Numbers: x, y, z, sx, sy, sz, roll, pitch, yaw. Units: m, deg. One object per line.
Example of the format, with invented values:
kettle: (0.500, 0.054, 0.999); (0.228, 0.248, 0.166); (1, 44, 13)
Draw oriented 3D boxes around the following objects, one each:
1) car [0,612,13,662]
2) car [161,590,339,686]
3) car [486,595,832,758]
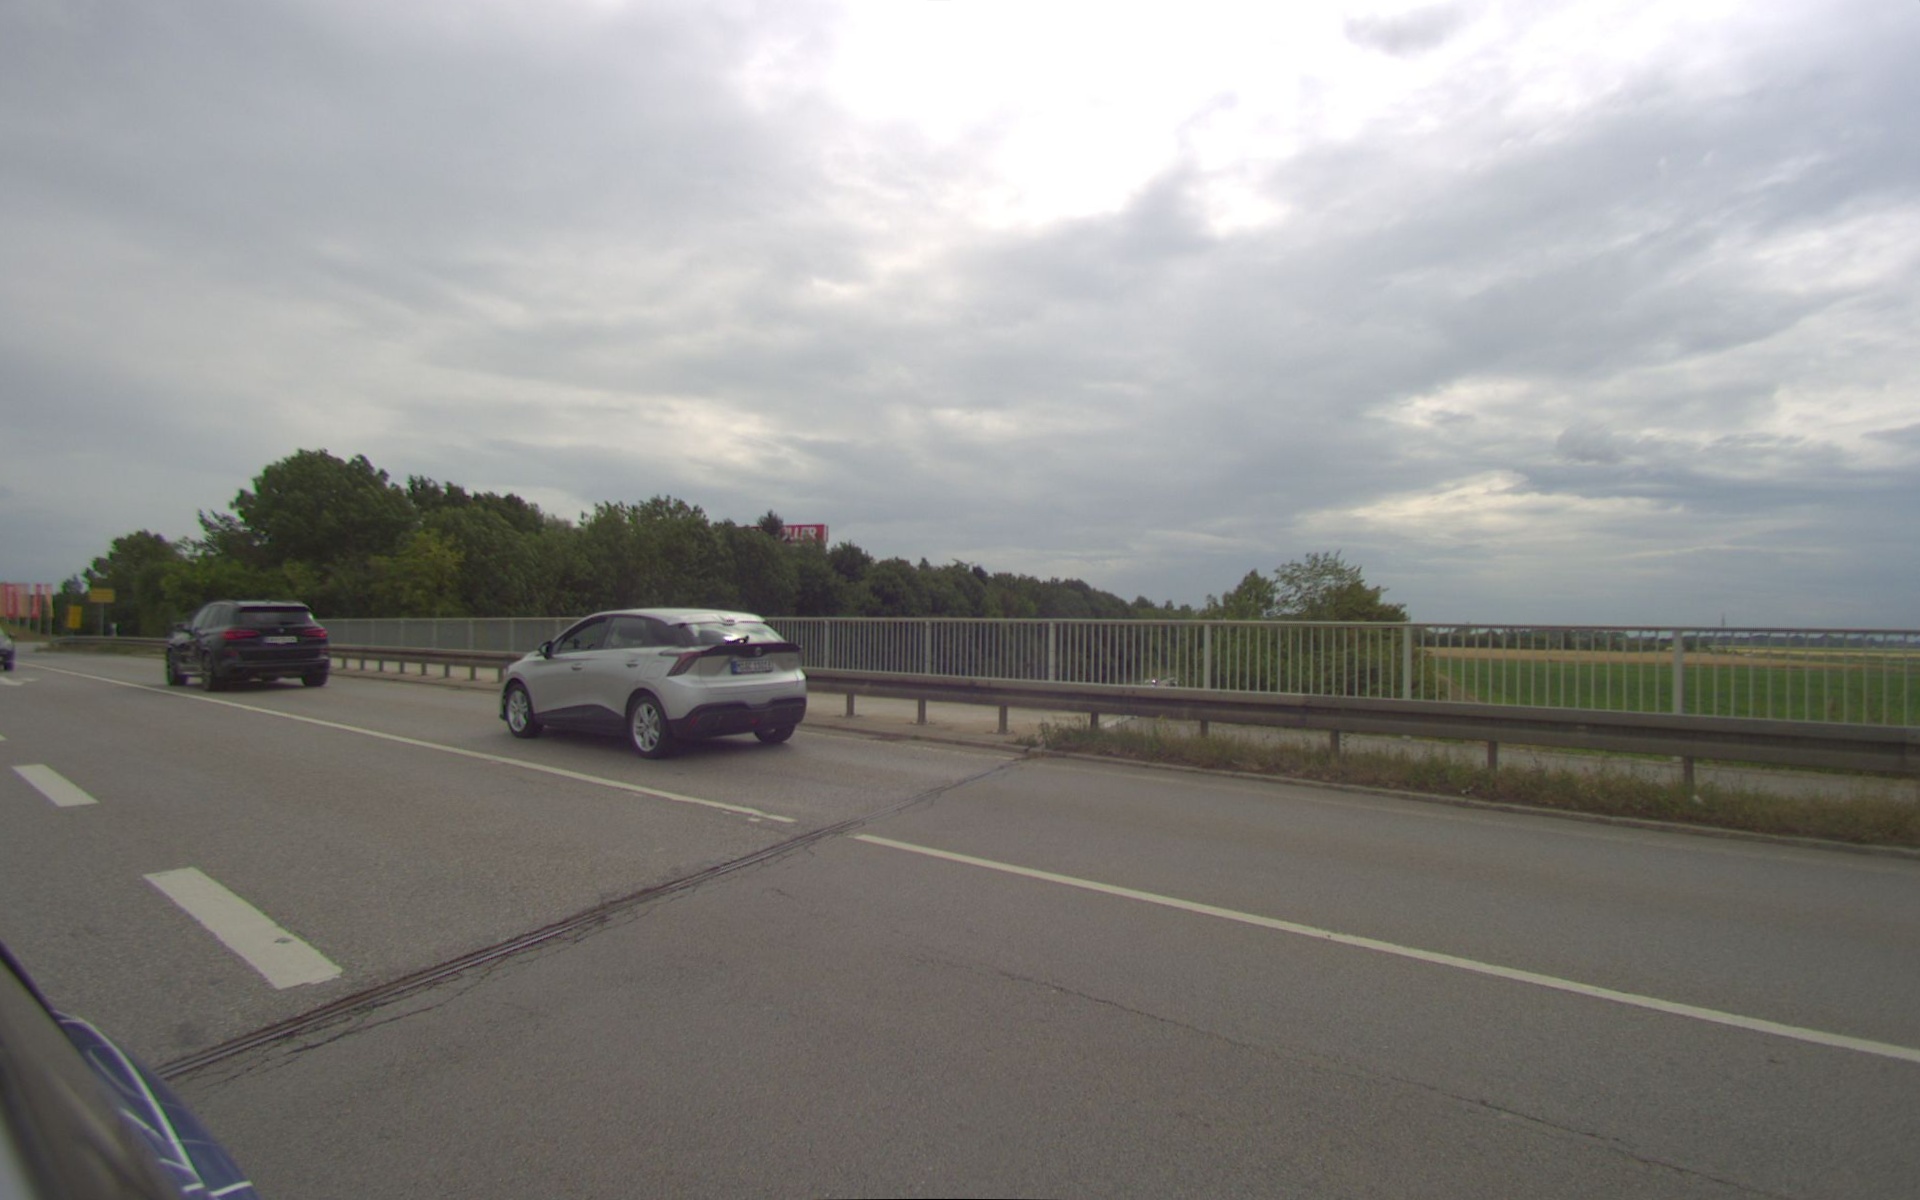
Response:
car: (-27.951, 1.044, 28.450); (3.822, 1.364, 1.559); (-2, -1, 41)
car: (-14.712, 0.685, 20.866); (4.760, 1.745, 1.972); (0, 1, 42)
car: (-3.514, 0.713, 11.387); (4.276, 1.498, 1.694); (0, 0, 40)
